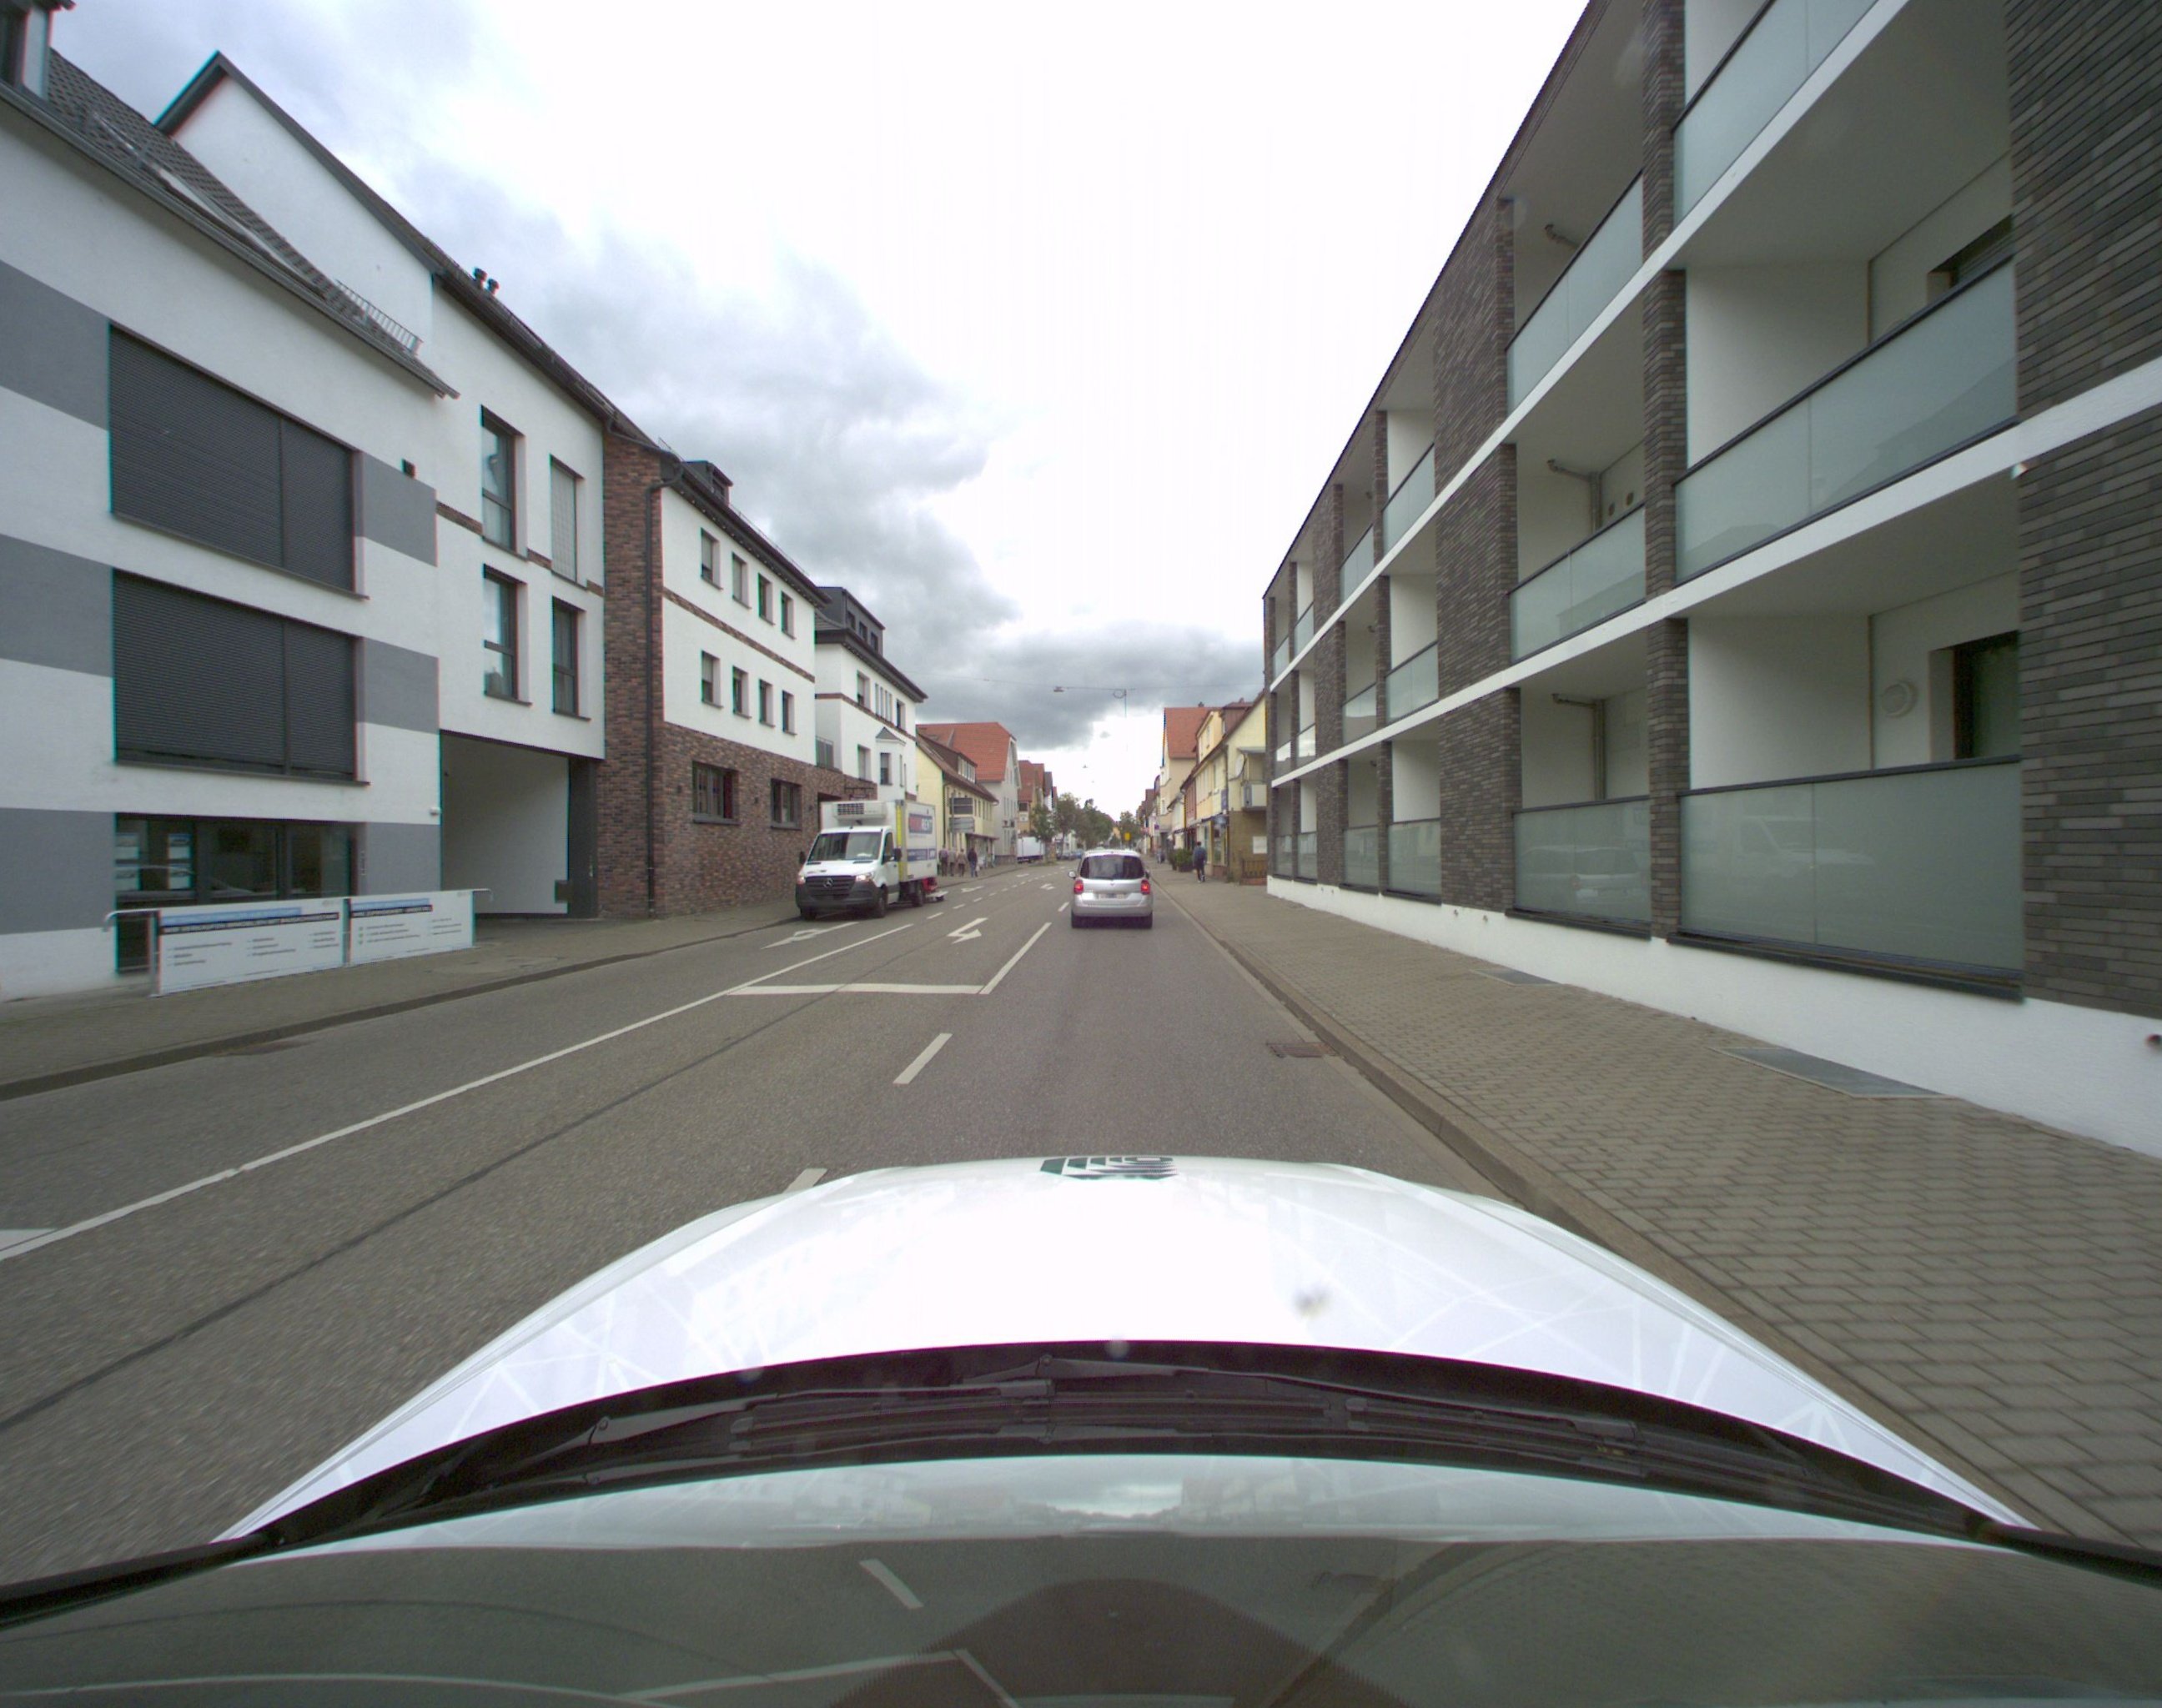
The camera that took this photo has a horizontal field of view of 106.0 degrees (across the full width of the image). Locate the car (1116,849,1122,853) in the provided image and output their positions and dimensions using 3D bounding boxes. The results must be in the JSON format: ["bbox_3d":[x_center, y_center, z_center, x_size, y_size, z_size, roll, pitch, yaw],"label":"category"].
[{"bbox_3d":[11.592,-0.951,250.405,1.805,1.354,4.003,-2,0,3],"label":"car"}]

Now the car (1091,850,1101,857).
[{"bbox_3d":[2.780,-0.124,152.155,1.805,1.354,3.860,-2,0,3],"label":"car"}]

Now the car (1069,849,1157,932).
[{"bbox_3d":[0.681,0.704,17.869,1.700,1.579,4.002,1,0,2],"label":"car"}]

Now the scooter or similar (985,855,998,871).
[{"bbox_3d":[-7.344,0.724,66.868,0.573,1.269,2.550,-2,0,3],"label":"scooter or similar"}]

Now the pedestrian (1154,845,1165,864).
[{"bbox_3d":[7.527,0.025,77.695,0.886,1.786,0.785,-4,0,2],"label":"pedestrian"}]

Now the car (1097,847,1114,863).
[{"bbox_3d":[2.596,0.102,86.423,1.700,1.579,4.002,1,0,2],"label":"car"}]

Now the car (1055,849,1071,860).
[{"bbox_3d":[-2.404,0.005,109.416,1.805,1.354,4.003,-2,0,3],"label":"car"}]

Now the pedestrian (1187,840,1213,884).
[{"bbox_3d":[5.082,0.343,34.825,0.886,1.786,0.785,-4,0,2],"label":"pedestrian"}]

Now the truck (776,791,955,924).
[{"bbox_3d":[-5.550,0.051,22.707,2.426,2.953,8.368,-2,0,2],"label":"truck"}]

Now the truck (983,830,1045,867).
[{"bbox_3d":[-7.537,-0.654,91.973,2.571,3.857,6.889,-2,1,44],"label":"truck"}]

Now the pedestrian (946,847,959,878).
[{"bbox_3d":[-7.377,0.483,46.807,0.577,1.757,0.688,1,0,2],"label":"pedestrian"}]

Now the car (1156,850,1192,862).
[{"bbox_3d":[10.420,0.260,90.996,3.741,1.314,1.510,1,0,-19],"label":"car"}]

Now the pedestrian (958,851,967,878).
[{"bbox_3d":[-6.775,0.574,46.607,0.424,1.525,0.554,1,0,2],"label":"pedestrian"}]

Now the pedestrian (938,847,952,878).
[{"bbox_3d":[-7.610,0.477,45.629,0.645,1.757,0.688,1,0,2],"label":"pedestrian"}]

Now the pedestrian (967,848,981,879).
[{"bbox_3d":[-6.064,0.551,46.323,0.660,1.757,0.688,1,0,2],"label":"pedestrian"}]

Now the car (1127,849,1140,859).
[{"bbox_3d":[7.698,-0.040,119.921,1.805,1.354,4.003,-2,0,3],"label":"car"}]

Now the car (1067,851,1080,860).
[{"bbox_3d":[-1.224,0.195,136.159,1.805,1.354,4.003,-2,0,3],"label":"car"}]
